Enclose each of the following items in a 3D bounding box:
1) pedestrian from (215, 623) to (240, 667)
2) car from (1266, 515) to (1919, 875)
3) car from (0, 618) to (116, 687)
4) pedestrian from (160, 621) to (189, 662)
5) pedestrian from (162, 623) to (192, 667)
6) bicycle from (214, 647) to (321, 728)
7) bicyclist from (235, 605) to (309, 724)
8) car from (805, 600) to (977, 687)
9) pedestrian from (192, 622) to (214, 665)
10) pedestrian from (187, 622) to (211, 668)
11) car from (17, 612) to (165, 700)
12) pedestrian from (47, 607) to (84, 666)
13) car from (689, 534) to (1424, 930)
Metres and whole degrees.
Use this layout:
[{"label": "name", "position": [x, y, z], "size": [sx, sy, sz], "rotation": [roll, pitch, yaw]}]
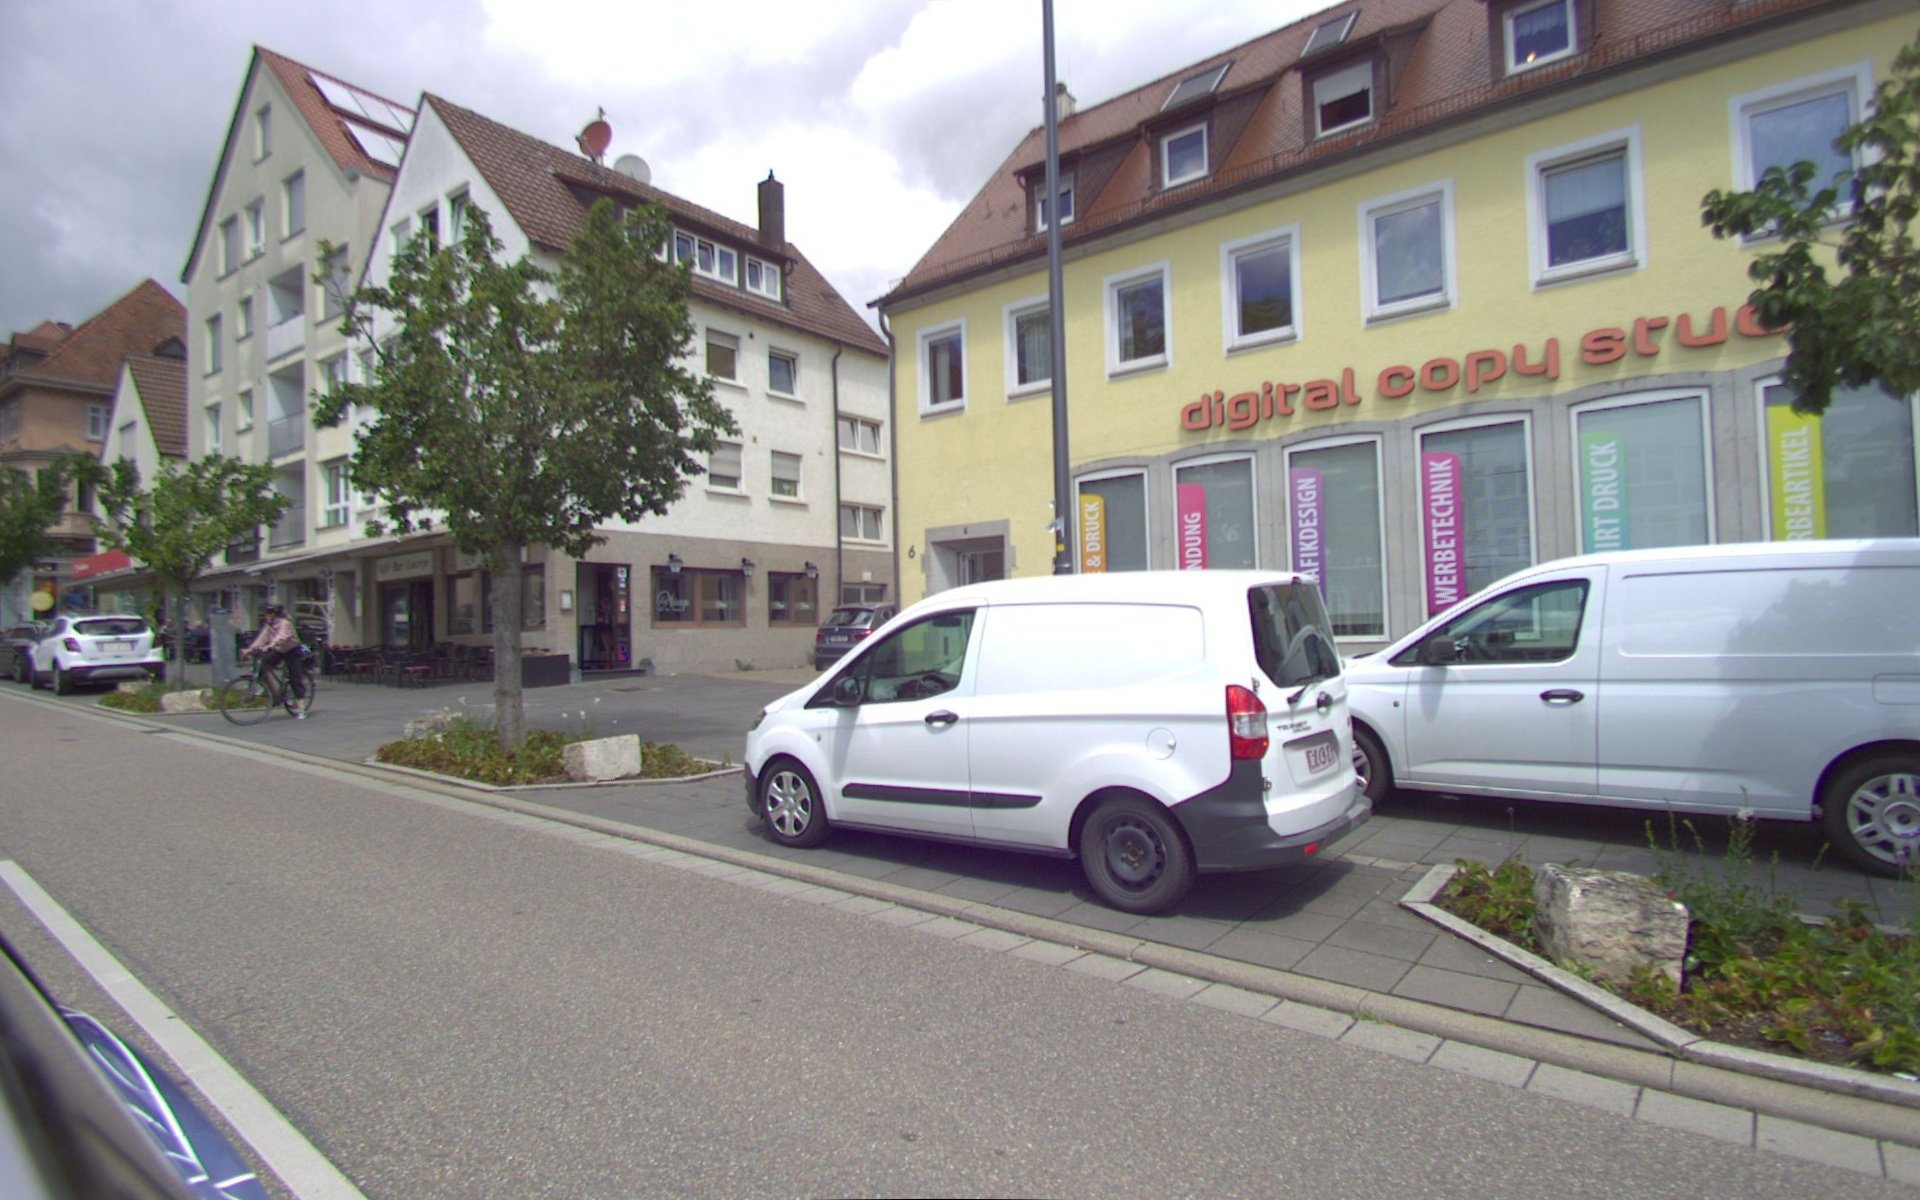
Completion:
[{"label": "pedestrian", "position": [-21.257, 1.288, 29.372], "size": [0.566, 1.259, 0.423], "rotation": [-1, -1, 36]}, {"label": "car", "position": [4.493, 0.490, 6.559], "size": [4.471, 1.827, 1.739], "rotation": [-1, 0, 39]}, {"label": "car", "position": [-22.744, 1.233, 24.926], "size": [4.503, 1.462, 1.824], "rotation": [0, 1, 34]}, {"label": "pedestrian", "position": [-24.898, 1.301, 32.061], "size": [0.597, 1.256, 0.590], "rotation": [0, 0, 36]}, {"label": "pedestrian", "position": [-22.907, 1.308, 29.616], "size": [0.597, 1.277, 0.545], "rotation": [0, 0, 36]}, {"label": "bicycle", "position": [-10.200, 1.261, 14.977], "size": [0.407, 1.096, 1.653], "rotation": [1, -2, 0]}, {"label": "bicyclist", "position": [-10.198, 0.946, 15.023], "size": [0.503, 1.708, 0.777], "rotation": [0, -2, 2]}, {"label": "car", "position": [-1.368, 0.853, 21.190], "size": [1.729, 1.663, 3.495], "rotation": [-2, -1, 37]}, {"label": "pedestrian", "position": [-22.531, 1.278, 30.121], "size": [0.499, 1.259, 0.391], "rotation": [-1, -1, 36]}, {"label": "pedestrian", "position": [-21.649, 1.275, 28.789], "size": [0.453, 1.309, 0.417], "rotation": [-1, -1, 36]}, {"label": "car", "position": [-18.598, 1.119, 21.603], "size": [4.128, 1.659, 1.649], "rotation": [-1, 0, 39]}, {"label": "pedestrian", "position": [-27.293, 1.103, 30.877], "size": [0.775, 1.774, 0.655], "rotation": [1, 0, 33]}, {"label": "car", "position": [0.350, 0.593, 6.296], "size": [4.344, 1.684, 1.641], "rotation": [-1, 0, 38]}]
